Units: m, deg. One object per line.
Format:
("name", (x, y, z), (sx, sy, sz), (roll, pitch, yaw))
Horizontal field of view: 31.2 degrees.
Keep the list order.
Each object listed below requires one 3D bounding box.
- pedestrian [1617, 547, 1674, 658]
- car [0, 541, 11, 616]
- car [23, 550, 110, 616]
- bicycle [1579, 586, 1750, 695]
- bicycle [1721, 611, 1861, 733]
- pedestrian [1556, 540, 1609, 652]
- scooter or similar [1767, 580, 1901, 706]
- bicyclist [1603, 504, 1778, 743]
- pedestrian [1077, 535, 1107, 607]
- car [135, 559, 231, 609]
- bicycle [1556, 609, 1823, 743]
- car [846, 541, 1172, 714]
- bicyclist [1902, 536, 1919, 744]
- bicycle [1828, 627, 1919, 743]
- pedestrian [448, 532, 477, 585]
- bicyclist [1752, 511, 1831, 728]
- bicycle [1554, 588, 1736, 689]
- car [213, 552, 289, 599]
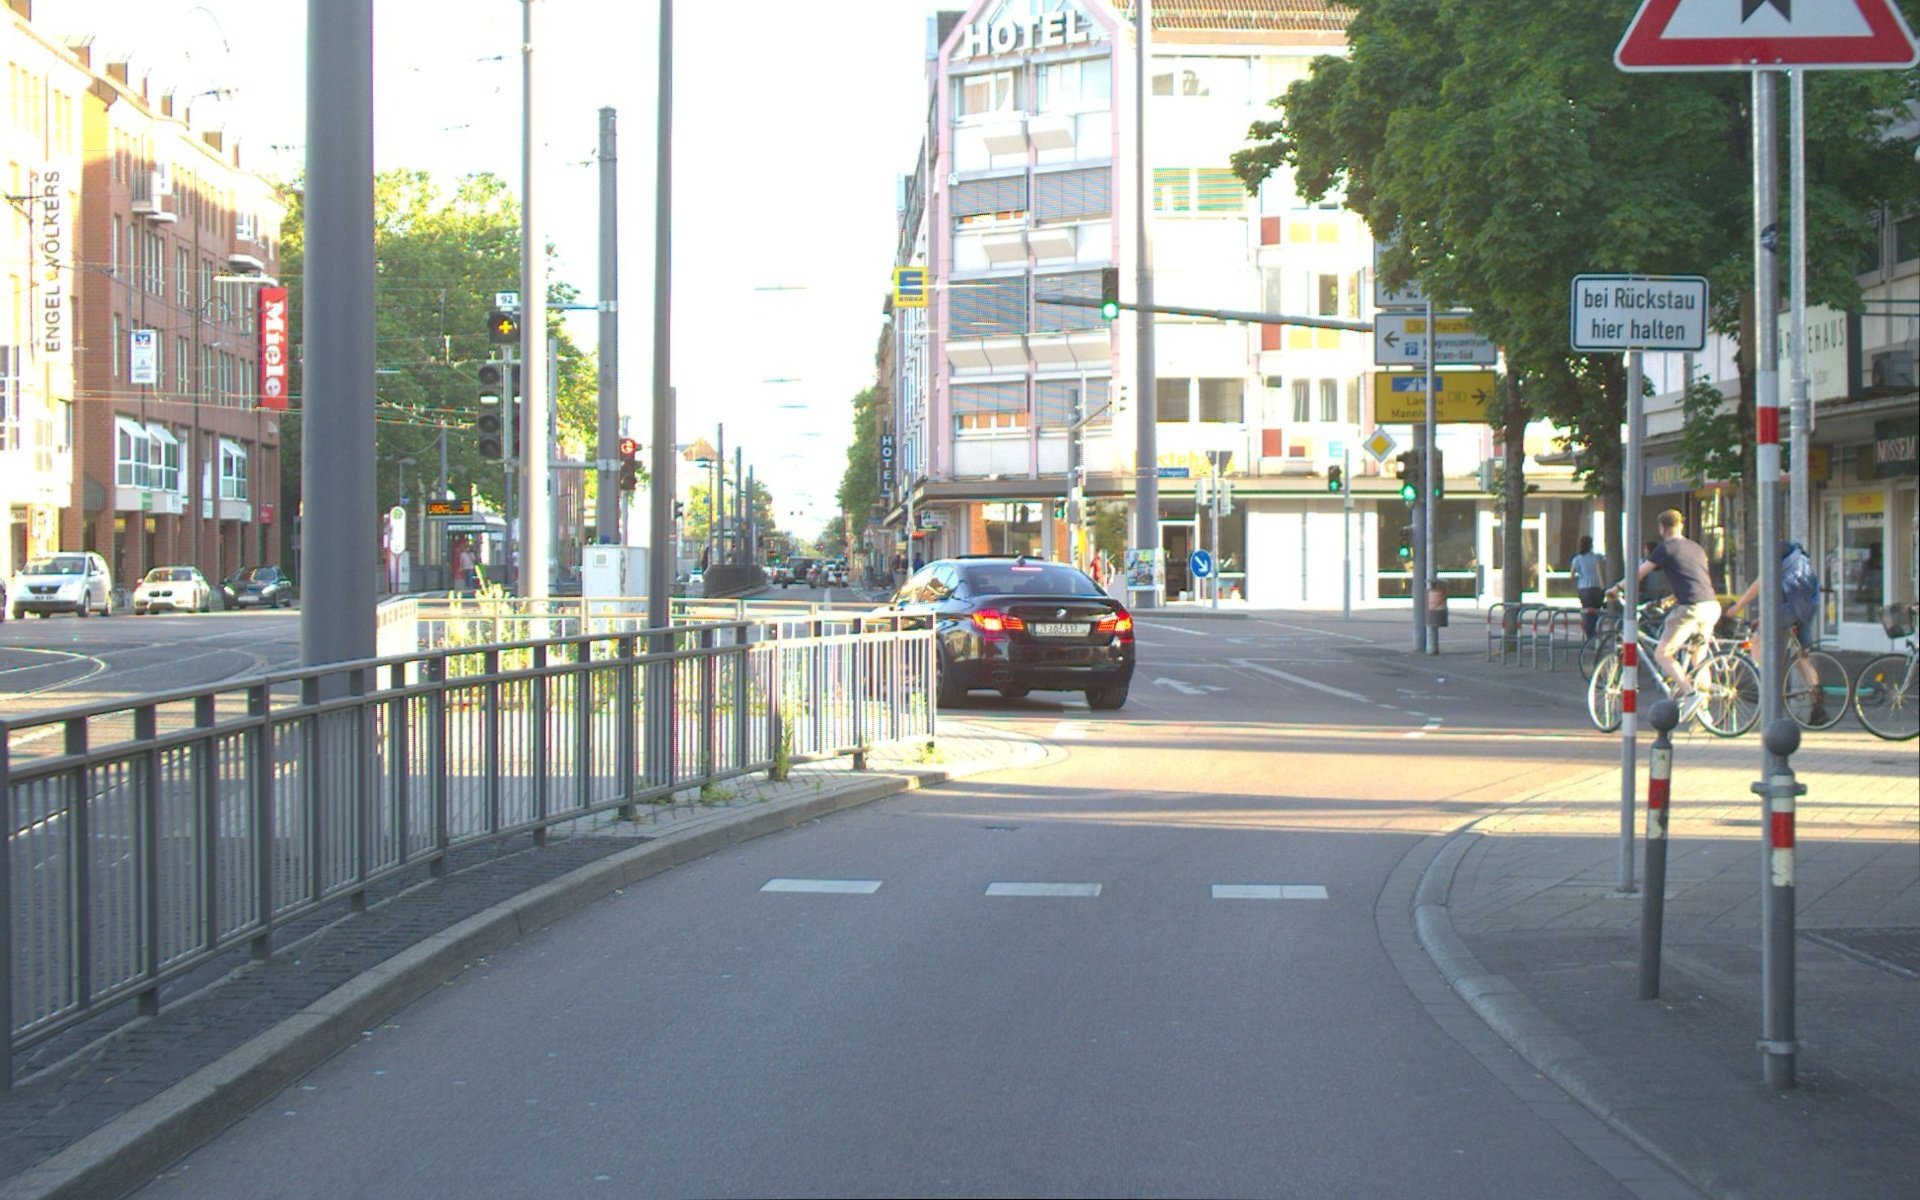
("pedestrian", (10.315, 0.033, 51.759), (0.723, 1.661, 0.671), (0, 0, 1))
("car", (-21.055, -0.438, 70.960), (1.993, 1.579, 4.588), (0, 1, -4))
("car", (-21.828, -0.434, 84.134), (1.993, 1.579, 4.114), (0, 1, -14))
("bicycle", (8.140, 0.458, 39.771), (1.905, 1.231, 0.668), (0, 1, 9))
("bicycle", (7.048, 0.598, 29.240), (0.464, 0.967, 1.801), (0, 1, -10))
("pedestrian", (9.327, -0.059, 51.540), (0.684, 1.661, 0.671), (0, 0, 1))
("scooter or similar", (8.740, 0.420, 34.389), (1.277, 1.231, 0.337), (1, 1, 40))
("bicyclist", (5.976, 0.174, 28.145), (0.838, 1.910, 1.114), (-1, 1, -39))
("pedestrian", (3.411, -0.753, 88.791), (0.684, 1.848, 0.671), (0, 0, -6))
("car", (-23.258, -0.487, 103.025), (1.669, 1.443, 4.201), (0, 1, 4))
("bicycle", (5.958, 0.599, 28.181), (0.838, 1.016, 2.077), (-1, 1, -39))
("car", (0.406, 0.223, 33.784), (1.993, 1.579, 4.001), (-1, 1, -18))
("bicyclist", (8.000, 0.307, 26.931), (1.112, 1.617, 0.839), (0, 1, 22))
("bicycle", (7.893, 0.668, 26.978), (2.008, 0.878, 0.839), (0, 0, 22))
("pedestrian", (-19.179, -1.586, 132.579), (0.988, 2.007, 0.726), (2, 0, -3))
("bicyclist", (7.059, 0.156, 29.198), (0.464, 1.824, 0.559), (0, 1, -10))
("bicycle", (7.736, 0.427, 38.850), (1.997, 1.107, 0.668), (0, 1, 11))
("car", (-24.303, -0.845, 117.993), (1.993, 1.579, 4.480), (0, 1, -4))
